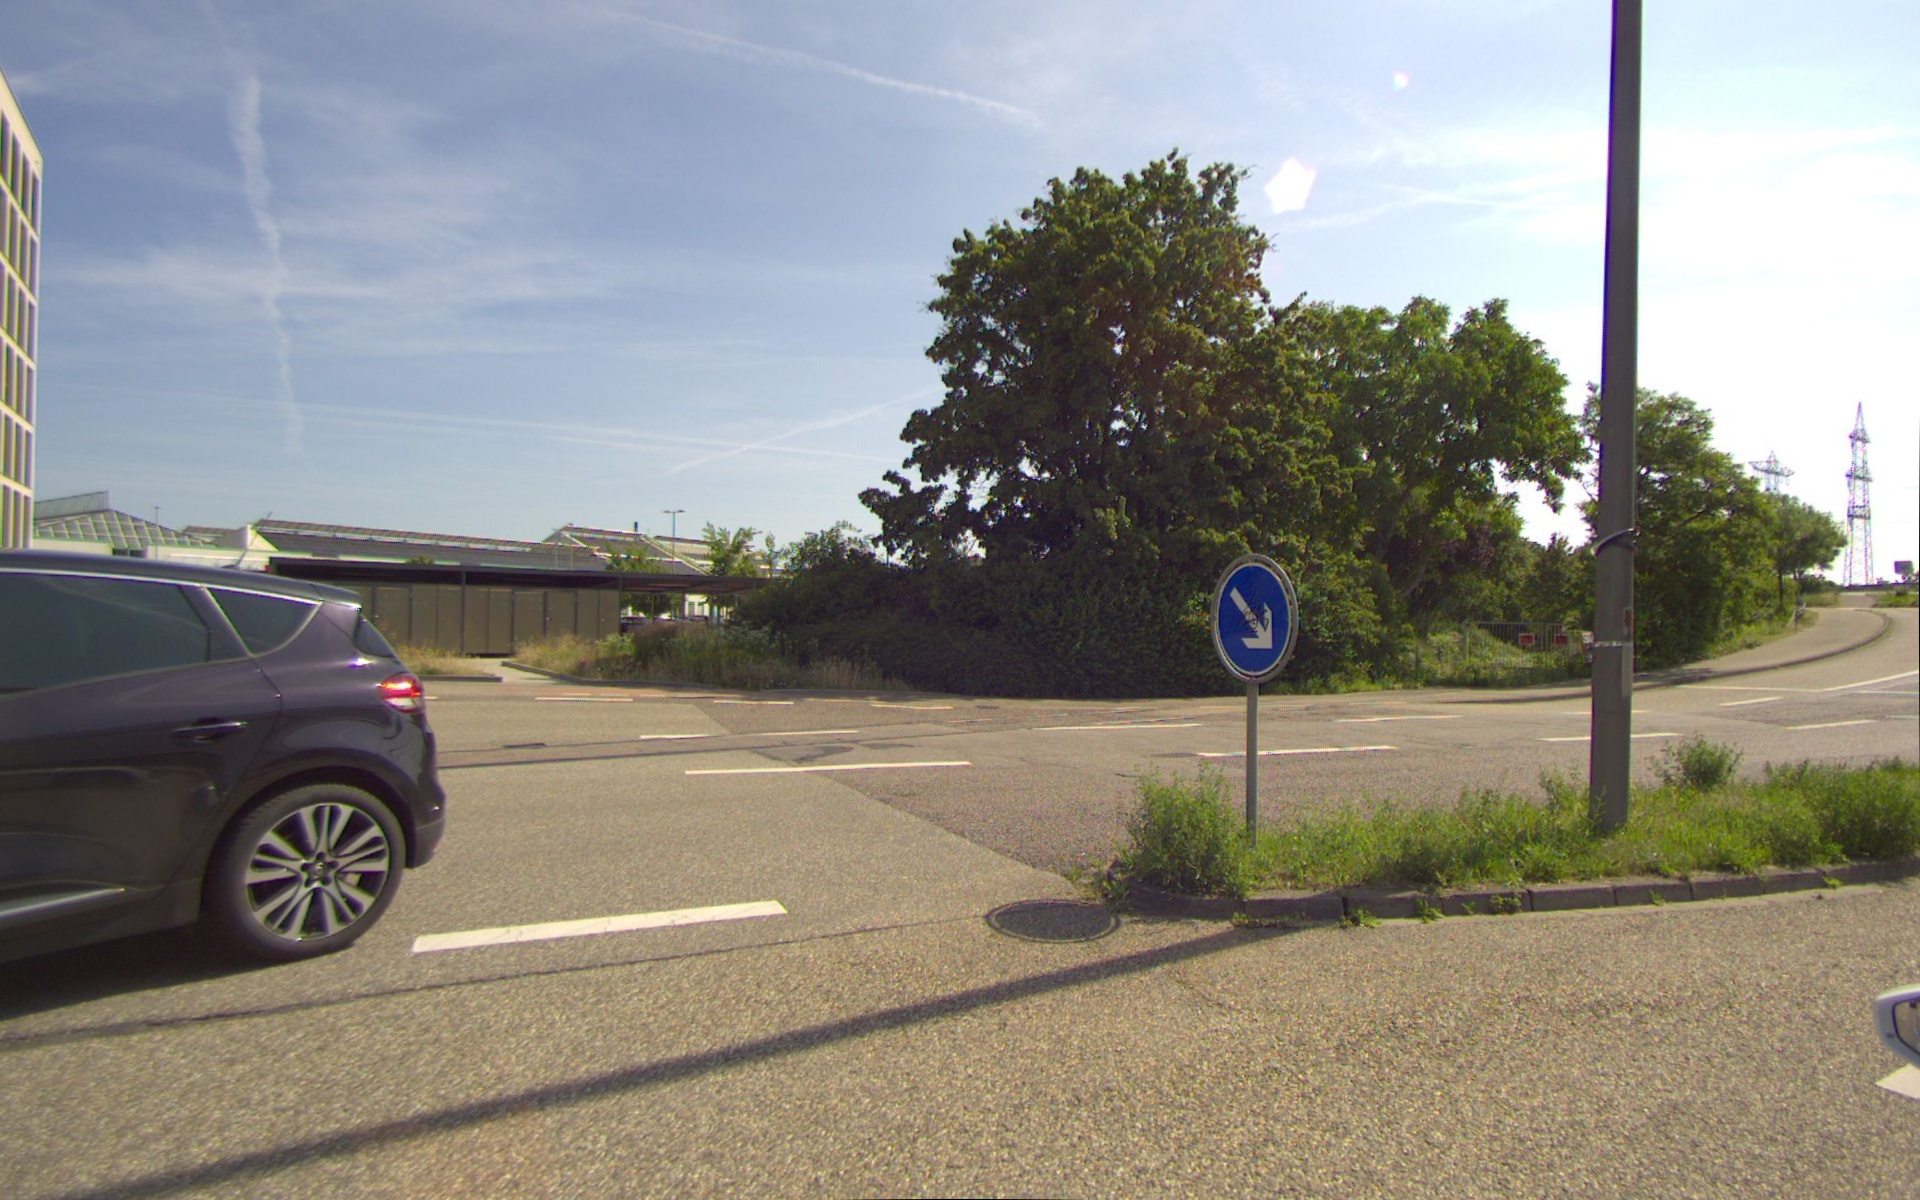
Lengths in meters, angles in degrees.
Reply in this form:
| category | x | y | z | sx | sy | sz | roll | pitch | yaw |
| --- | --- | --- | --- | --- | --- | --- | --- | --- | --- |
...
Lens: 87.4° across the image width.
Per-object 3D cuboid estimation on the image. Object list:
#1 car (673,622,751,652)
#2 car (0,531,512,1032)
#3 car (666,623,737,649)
| category | x | y | z | sx | sy | sz | roll | pitch | yaw |
| --- | --- | --- | --- | --- | --- | --- | --- | --- | --- |
| car | -9.893 | 1.476 | 40.063 | 2.796 | 1.128 | 1.251 | 2 | -1 | -29 |
| car | -4.087 | 0.579 | 3.502 | 1.890 | 1.627 | 4.259 | 0 | -1 | 34 |
| car | -11.369 | 1.594 | 44.229 | 2.780 | 1.117 | 1.311 | 2 | -1 | -32 |
